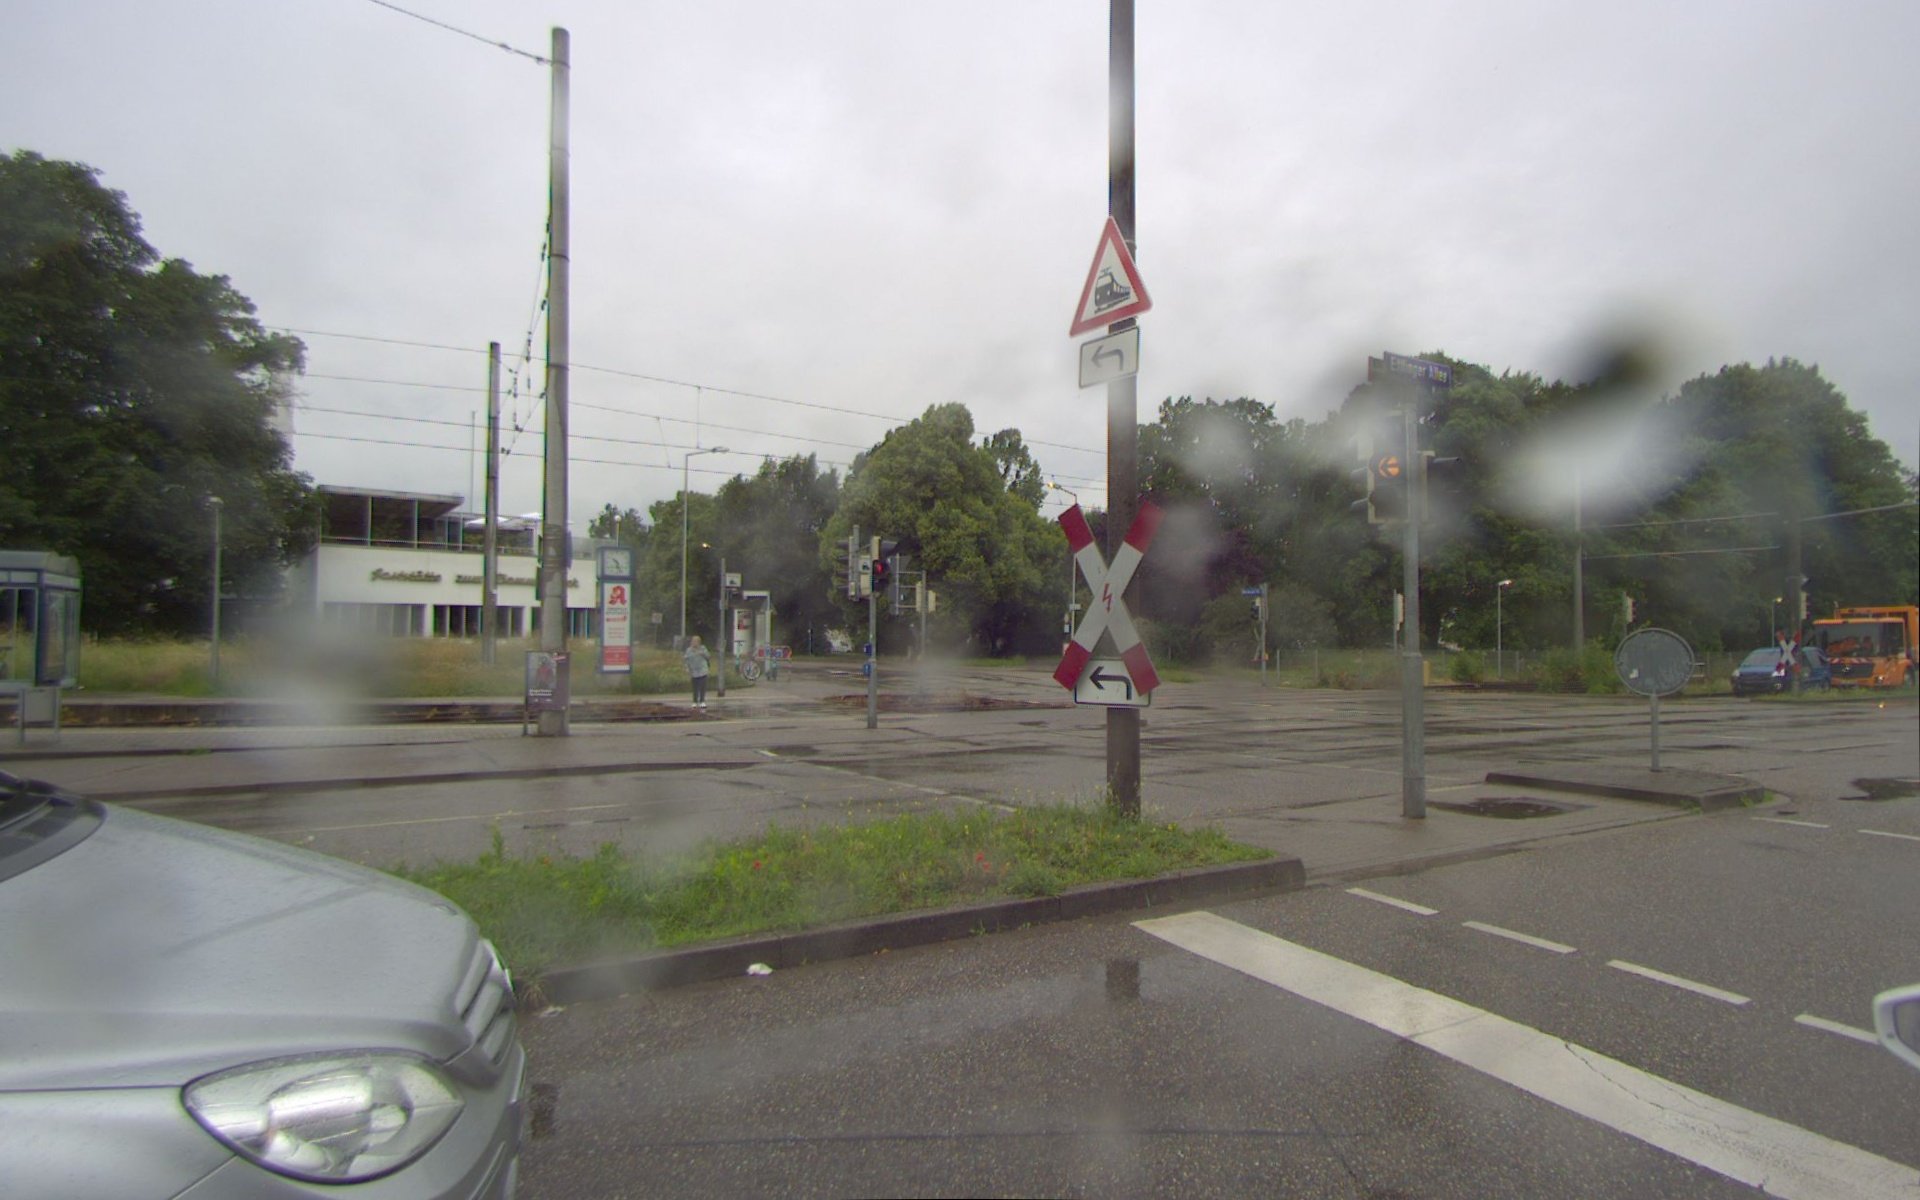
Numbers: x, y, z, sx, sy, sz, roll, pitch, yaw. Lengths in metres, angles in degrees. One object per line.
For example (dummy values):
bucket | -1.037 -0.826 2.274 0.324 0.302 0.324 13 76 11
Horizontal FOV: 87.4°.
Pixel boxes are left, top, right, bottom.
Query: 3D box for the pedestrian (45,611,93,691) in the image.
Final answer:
pedestrian | -20.660 1.179 23.304 0.673 1.816 0.626 2 -1 -31

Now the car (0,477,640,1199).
car | -2.638 0.619 1.294 3.966 1.564 1.728 1 -1 -30

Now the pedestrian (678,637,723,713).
pedestrian | -6.031 1.729 23.347 0.774 1.679 0.797 2 -1 -32

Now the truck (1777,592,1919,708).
truck | 37.569 2.021 40.905 10.288 4.222 3.368 2 -1 -31

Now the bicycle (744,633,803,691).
bicycle | -5.847 1.935 31.538 1.714 1.784 0.637 1 -2 -29

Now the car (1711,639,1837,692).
car | 28.972 2.312 35.742 4.473 1.732 1.984 2 -1 -30
